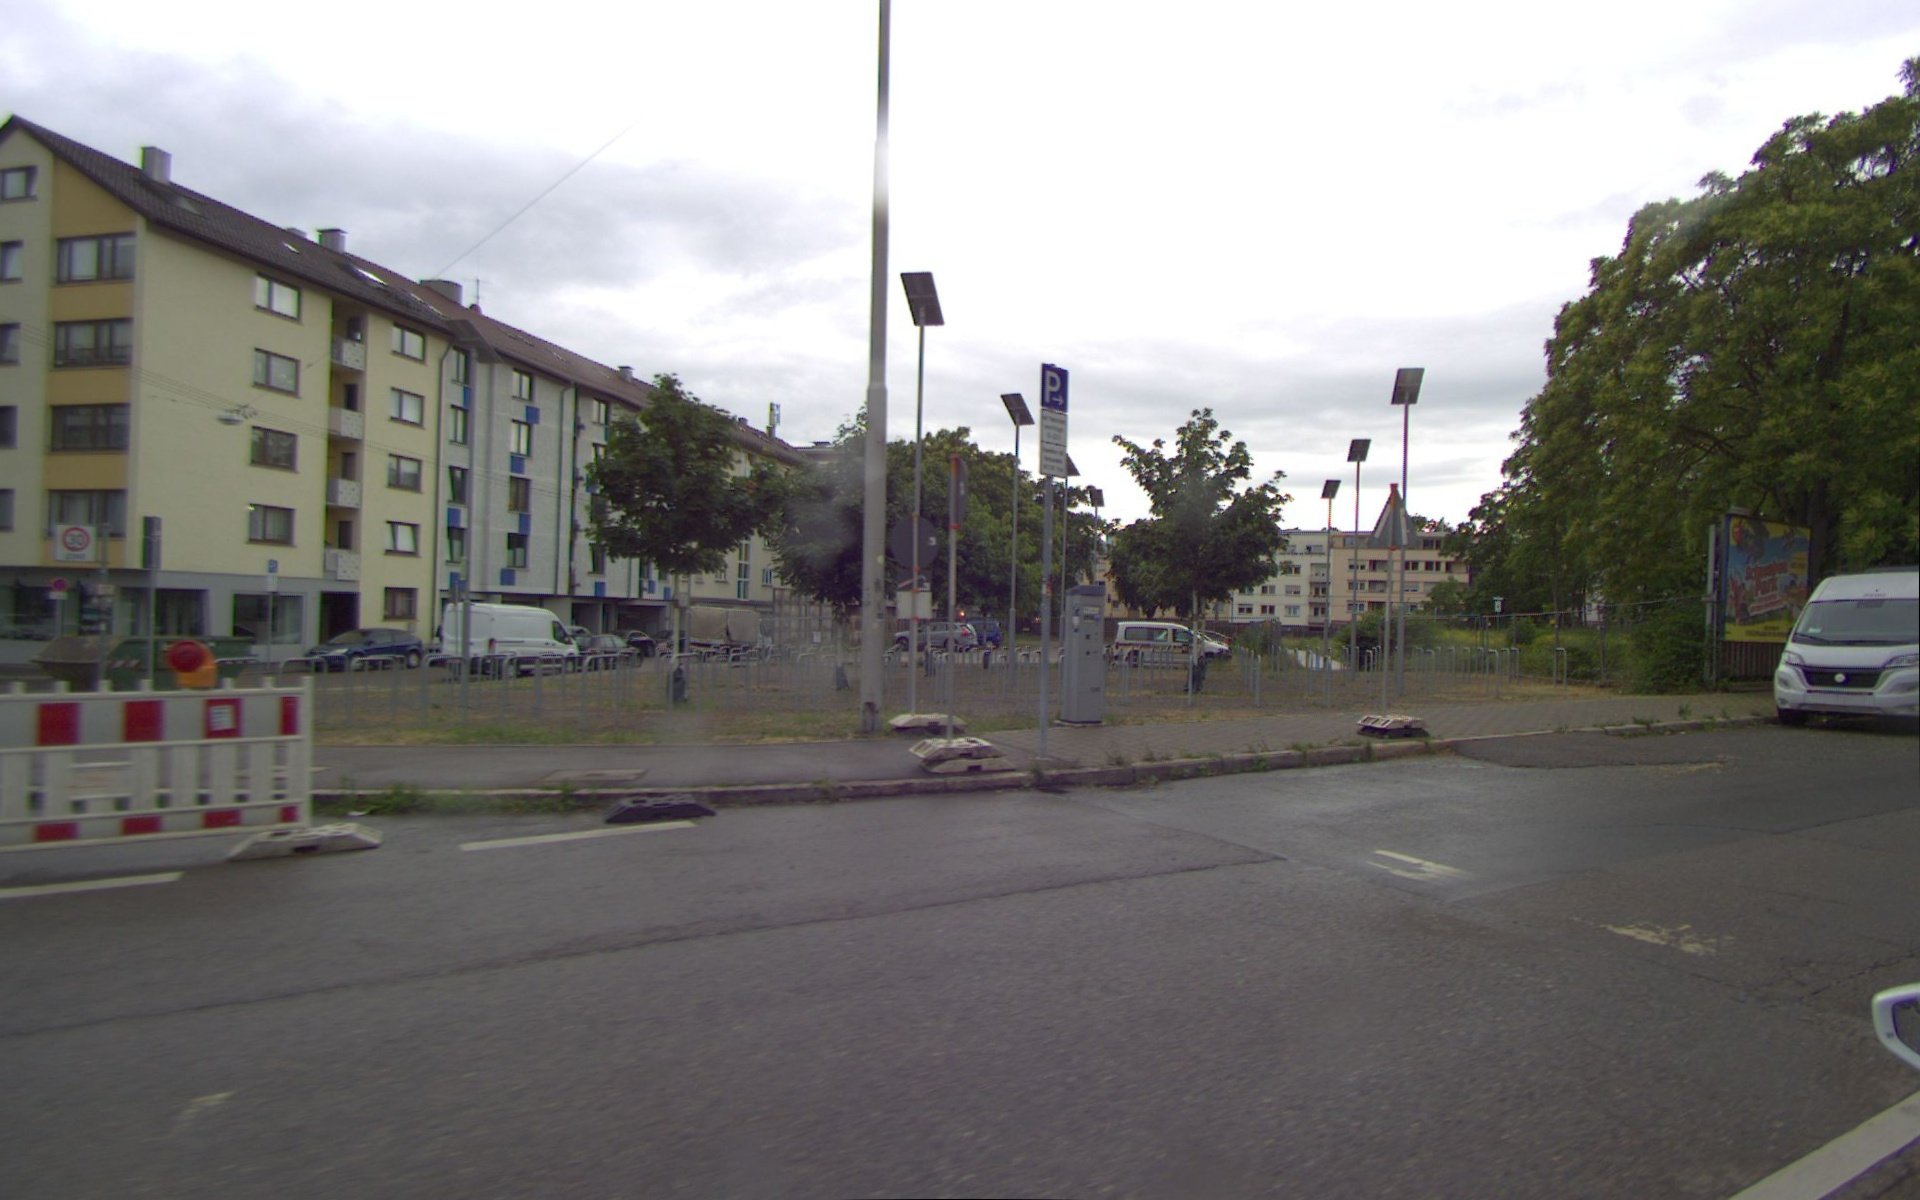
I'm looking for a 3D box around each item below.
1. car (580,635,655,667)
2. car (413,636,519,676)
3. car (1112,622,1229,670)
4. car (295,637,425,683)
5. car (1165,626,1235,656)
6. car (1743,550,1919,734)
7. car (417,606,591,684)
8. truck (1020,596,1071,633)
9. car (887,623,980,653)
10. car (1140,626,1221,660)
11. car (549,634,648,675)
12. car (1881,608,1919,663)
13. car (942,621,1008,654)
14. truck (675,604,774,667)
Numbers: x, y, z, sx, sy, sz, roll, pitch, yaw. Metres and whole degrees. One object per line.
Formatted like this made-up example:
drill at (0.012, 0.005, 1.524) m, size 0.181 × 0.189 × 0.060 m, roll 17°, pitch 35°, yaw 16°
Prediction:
car at (-17.592, 2.591, 51.766) m, size 1.764 × 1.530 × 4.003 m, roll -1°, pitch -2°, yaw 13°
car at (-20.372, 2.277, 41.598) m, size 1.764 × 1.530 × 4.003 m, roll -1°, pitch -2°, yaw 14°
car at (8.628, 1.858, 41.228) m, size 4.597 × 1.858 × 2.001 m, roll 0°, pitch -1°, yaw 12°
car at (-21.563, 2.122, 36.301) m, size 1.764 × 1.530 × 4.003 m, roll -1°, pitch -2°, yaw 13°
car at (13.872, 2.334, 58.158) m, size 3.919 × 1.647 × 1.801 m, roll 0°, pitch -1°, yaw 12°
car at (15.899, 0.669, 16.797) m, size 6.462 × 2.613 × 2.219 m, roll 1°, pitch -2°, yaw -31°
car at (-15.568, 1.521, 34.761) m, size 2.620 × 2.445 × 5.737 m, roll -1°, pitch -2°, yaw 12°
truck at (13.275, 2.339, 153.812) m, size 5.497 × 5.211 × 15.716 m, roll -1°, pitch -2°, yaw 13°
car at (-1.449, 2.146, 56.529) m, size 4.806 × 1.647 × 2.127 m, roll 0°, pitch -3°, yaw 15°
car at (11.180, 2.147, 50.962) m, size 3.919 × 1.647 × 1.801 m, roll 0°, pitch -1°, yaw 12°
car at (-14.238, 2.132, 39.839) m, size 1.764 × 1.530 × 4.003 m, roll -1°, pitch -2°, yaw 14°
car at (37.502, 1.313, 36.574) m, size 2.122 × 2.036 × 5.471 m, roll 1°, pitch -1°, yaw -31°
car at (0.989, 2.406, 64.464) m, size 3.919 × 2.079 × 1.801 m, roll 0°, pitch -3°, yaw 15°
truck at (-11.740, 1.786, 50.549) m, size 2.724 × 2.970 × 5.294 m, roll -1°, pitch -2°, yaw 13°
